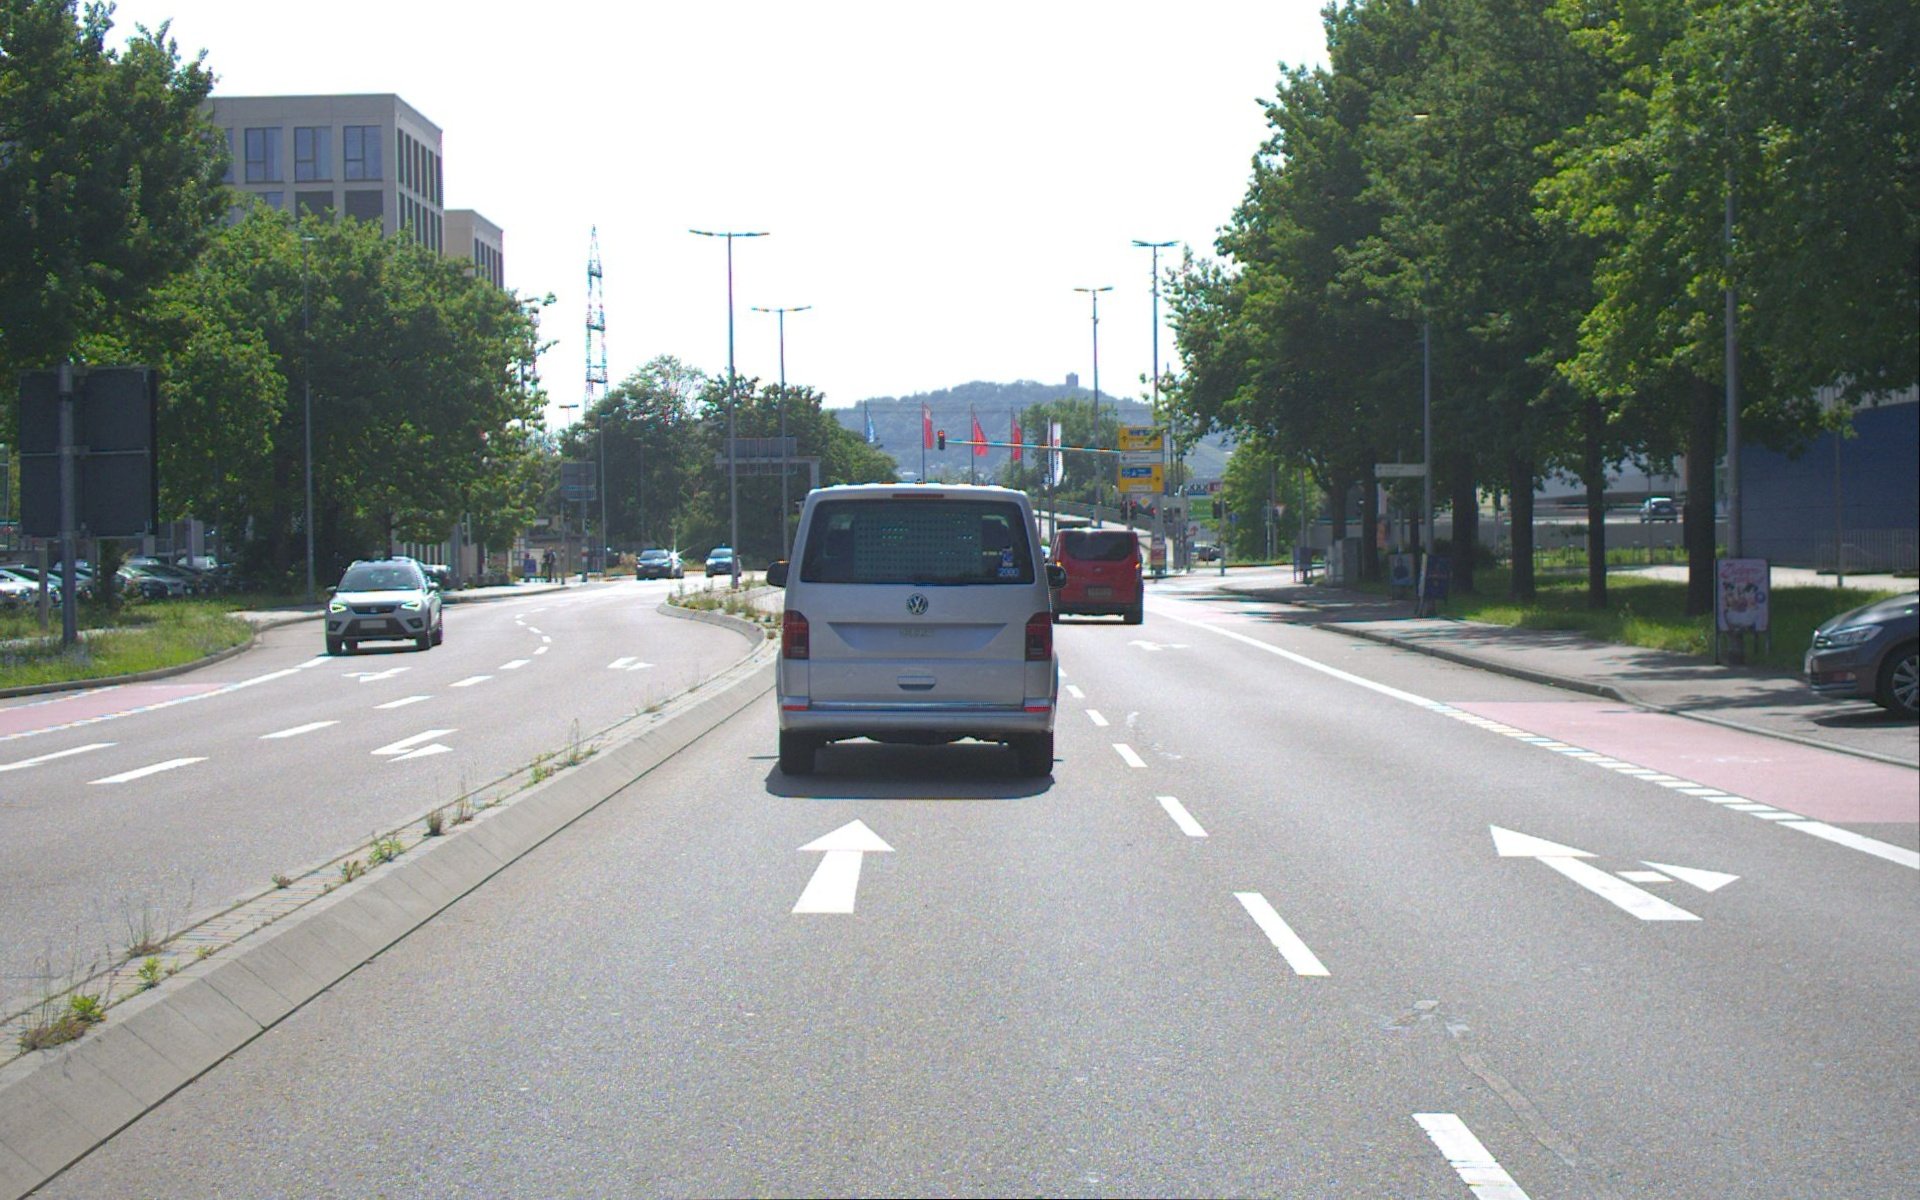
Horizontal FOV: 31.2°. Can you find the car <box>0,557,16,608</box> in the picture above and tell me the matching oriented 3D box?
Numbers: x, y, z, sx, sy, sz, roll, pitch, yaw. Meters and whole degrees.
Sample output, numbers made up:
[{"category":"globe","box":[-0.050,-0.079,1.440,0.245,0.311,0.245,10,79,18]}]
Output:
[{"category":"car","box":[-23.803,-0.252,78.407,3.987,1.152,1.897,-4,1,-2]}]

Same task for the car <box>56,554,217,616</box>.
[{"category":"car","box":[-23.465,-0.439,98.054,3.987,1.437,2.000,-4,1,1]}]

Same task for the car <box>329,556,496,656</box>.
[{"category":"car","box":[-9.647,0.085,60.851,1.994,1.612,4.104,-2,1,4]}]

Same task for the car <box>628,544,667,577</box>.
[{"category":"car","box":[-16.390,-2.098,180.356,1.738,1.613,4.210,-4,1,-2]}]

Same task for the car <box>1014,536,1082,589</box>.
[{"category":"car","box":[2.467,-1.070,96.996,1.746,1.453,4.476,1,1,0]}]

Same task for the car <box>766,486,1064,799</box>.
[{"category":"car","box":[-0.296,0.235,23.923,1.884,1.983,4.000,1,1,0]}]

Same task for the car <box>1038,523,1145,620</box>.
[{"category":"car","box":[2.743,-0.636,72.706,1.967,1.961,5.126,1,1,-1]}]

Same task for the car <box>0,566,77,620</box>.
[{"category":"car","box":[-24.162,-0.082,84.852,4.173,1.186,1.955,-4,1,-2]}]

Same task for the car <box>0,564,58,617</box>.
[{"category":"car","box":[-23.857,-0.115,81.882,4.173,1.152,2.087,-4,1,-2]}]

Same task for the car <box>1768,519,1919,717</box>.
[{"category":"car","box":[9.594,0.083,30.590,4.445,1.688,1.844,-2,1,7]}]
